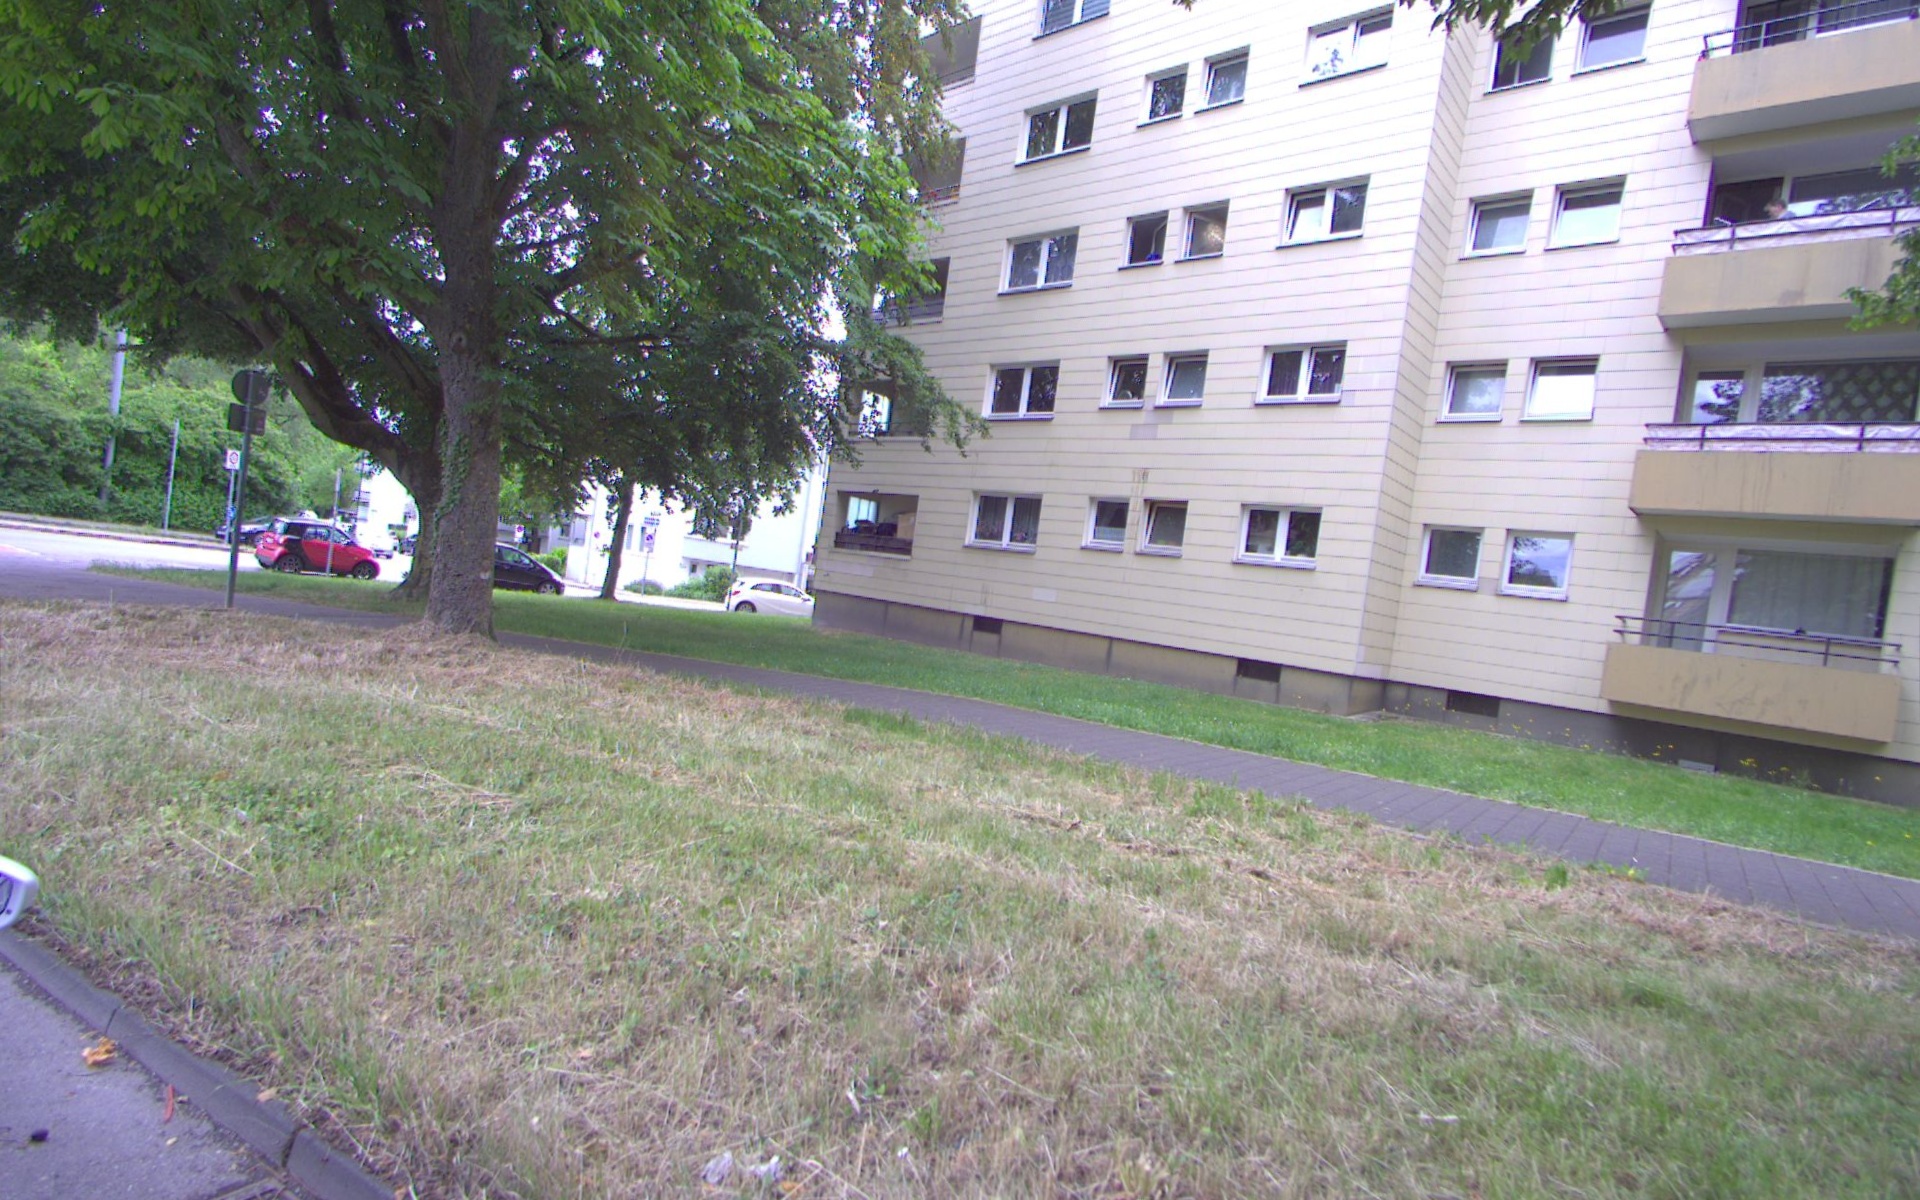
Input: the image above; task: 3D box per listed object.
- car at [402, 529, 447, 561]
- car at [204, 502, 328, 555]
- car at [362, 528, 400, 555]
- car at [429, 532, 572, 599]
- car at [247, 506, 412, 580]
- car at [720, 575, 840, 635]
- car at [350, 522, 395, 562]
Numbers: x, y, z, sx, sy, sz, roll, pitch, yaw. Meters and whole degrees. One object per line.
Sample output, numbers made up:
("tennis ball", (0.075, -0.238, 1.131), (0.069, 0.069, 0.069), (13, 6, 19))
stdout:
("car", (-33.855, -3.480, 63.555), (1.714, 1.631, 3.812), (5, 2, -38))
("car", (-26.879, -2.768, 39.043), (1.702, 1.550, 3.515), (8, 1, 37))
("car", (-41.702, -4.210, 72.400), (1.714, 1.631, 3.812), (5, 2, -38))
("car", (-14.446, -1.080, 31.675), (3.815, 1.631, 1.712), (6, 1, -33))
("car", (-17.887, -1.584, 28.661), (1.701, 1.631, 3.516), (8, 1, 36))
("car", (-6.303, 0.172, 35.155), (3.797, 1.631, 1.720), (6, 1, -18))
("car", (-28.458, -2.829, 48.776), (1.709, 1.631, 3.822), (6, 1, -30))
